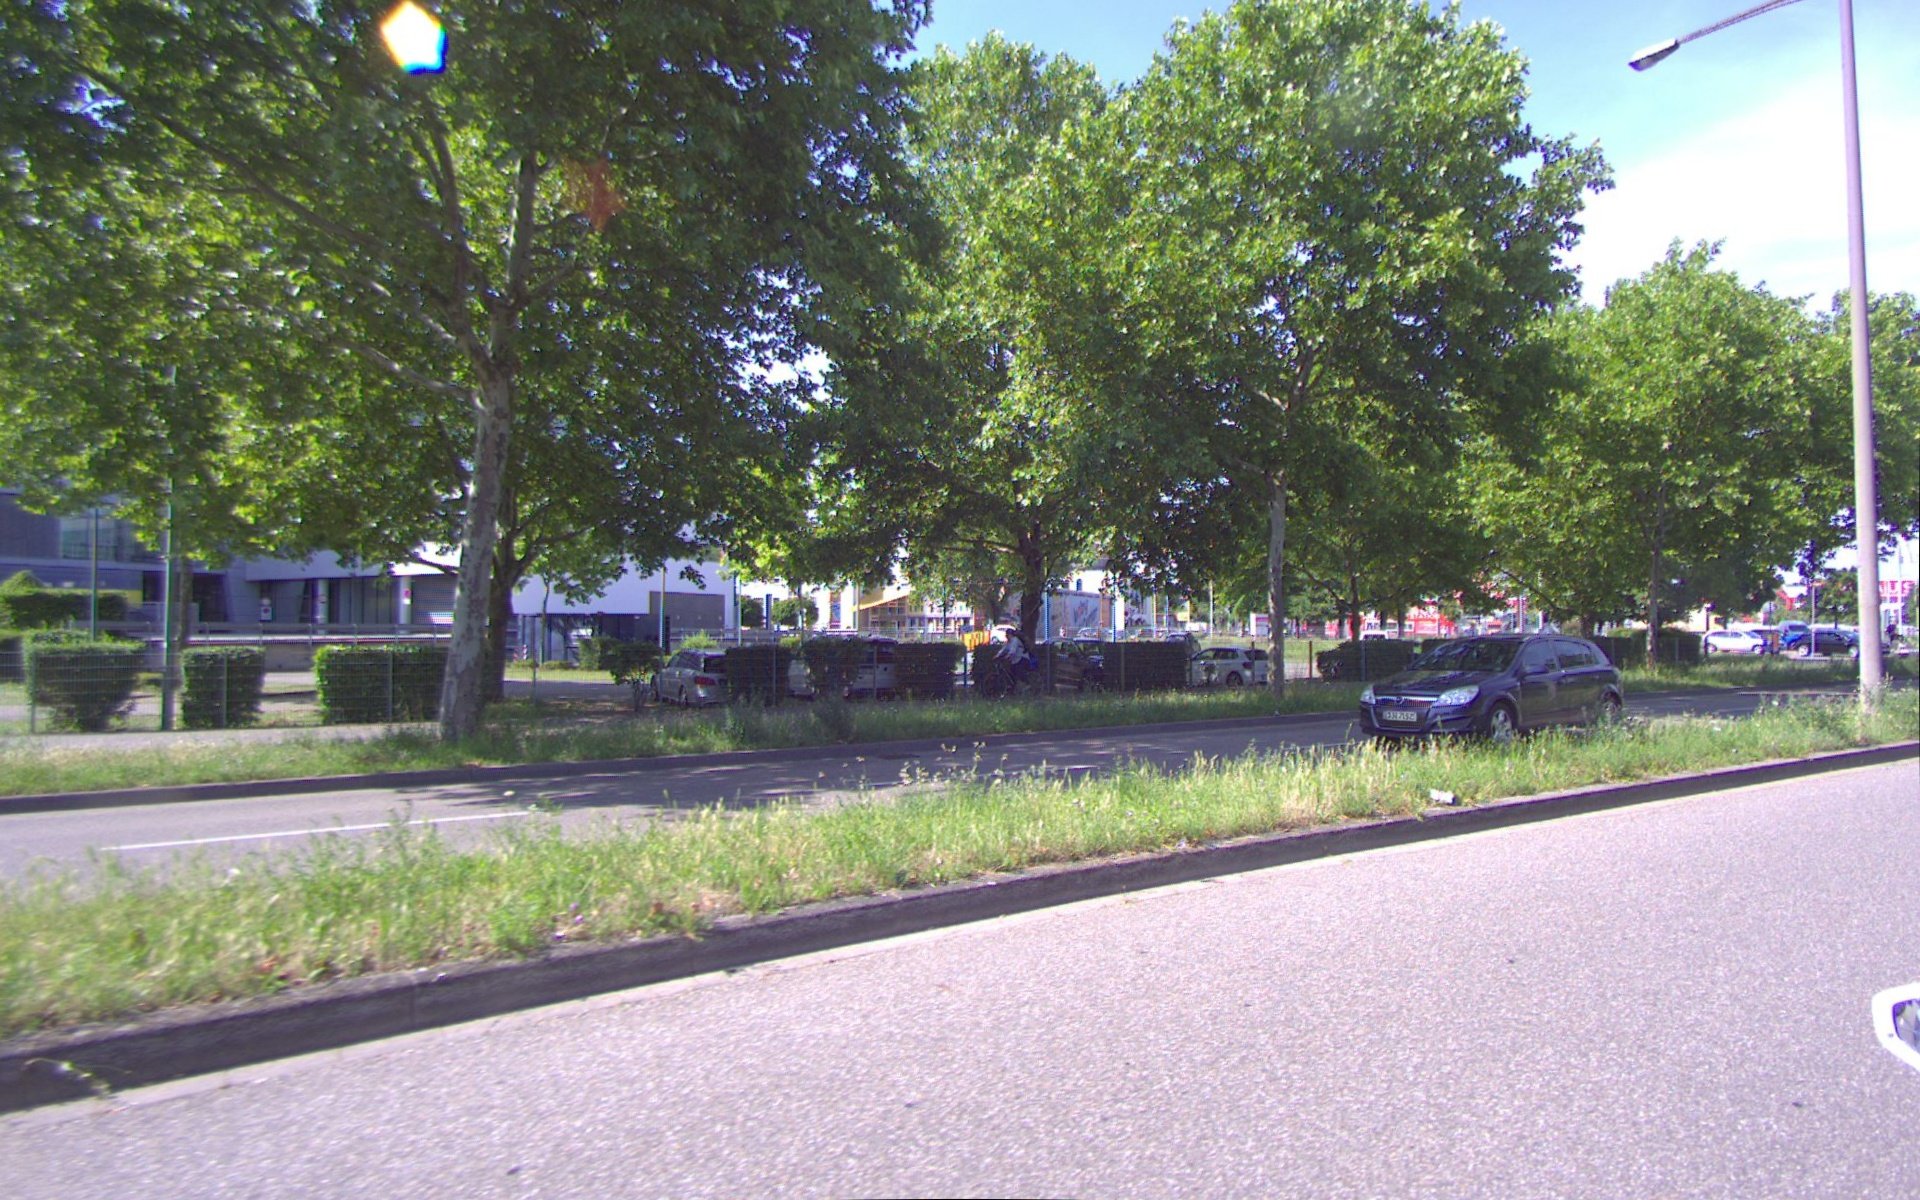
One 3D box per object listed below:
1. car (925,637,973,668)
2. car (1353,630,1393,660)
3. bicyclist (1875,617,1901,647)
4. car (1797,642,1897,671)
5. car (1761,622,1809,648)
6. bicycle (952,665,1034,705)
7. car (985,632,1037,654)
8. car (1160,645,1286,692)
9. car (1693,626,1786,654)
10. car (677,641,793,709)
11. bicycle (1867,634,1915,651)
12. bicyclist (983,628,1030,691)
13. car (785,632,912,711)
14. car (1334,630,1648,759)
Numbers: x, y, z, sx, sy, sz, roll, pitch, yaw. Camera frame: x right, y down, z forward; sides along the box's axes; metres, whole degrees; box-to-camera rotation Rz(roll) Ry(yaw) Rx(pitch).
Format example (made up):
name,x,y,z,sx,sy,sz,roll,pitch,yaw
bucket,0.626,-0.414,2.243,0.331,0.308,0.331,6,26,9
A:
name,x,y,z,sx,sy,sz,roll,pitch,yaw
car,-0.668,2.883,55.794,1.774,1.524,3.989,-2,0,-14
car,24.145,2.620,58.872,1.961,1.687,4.845,-1,-2,21
bicyclist,55.497,1.935,60.083,0.883,1.738,0.782,-2,0,24
car,48.038,3.043,54.524,1.731,1.407,3.999,-1,-2,-3
car,81.593,3.467,99.437,1.960,2.566,4.642,-1,-2,16
bicycle,0.787,2.024,24.079,1.904,0.877,0.686,1,-2,-31
car,4.267,3.623,84.693,3.925,1.795,1.845,-2,0,25
car,8.907,2.298,34.299,1.787,1.432,3.961,3,-3,-35
car,46.683,2.375,60.268,1.695,1.624,4.148,0,-2,-18
car,-5.560,1.761,24.498,1.751,1.483,3.970,1,-3,-29
bicycle,55.624,2.548,60.035,1.917,0.996,0.788,-2,0,24
bicyclist,1.117,1.424,24.294,0.931,1.504,0.678,1,-2,-30
car,-3.037,1.819,26.635,2.128,1.847,3.974,2,-1,-26
car,7.159,1.164,13.448,4.233,1.488,1.760,1,-3,-31
